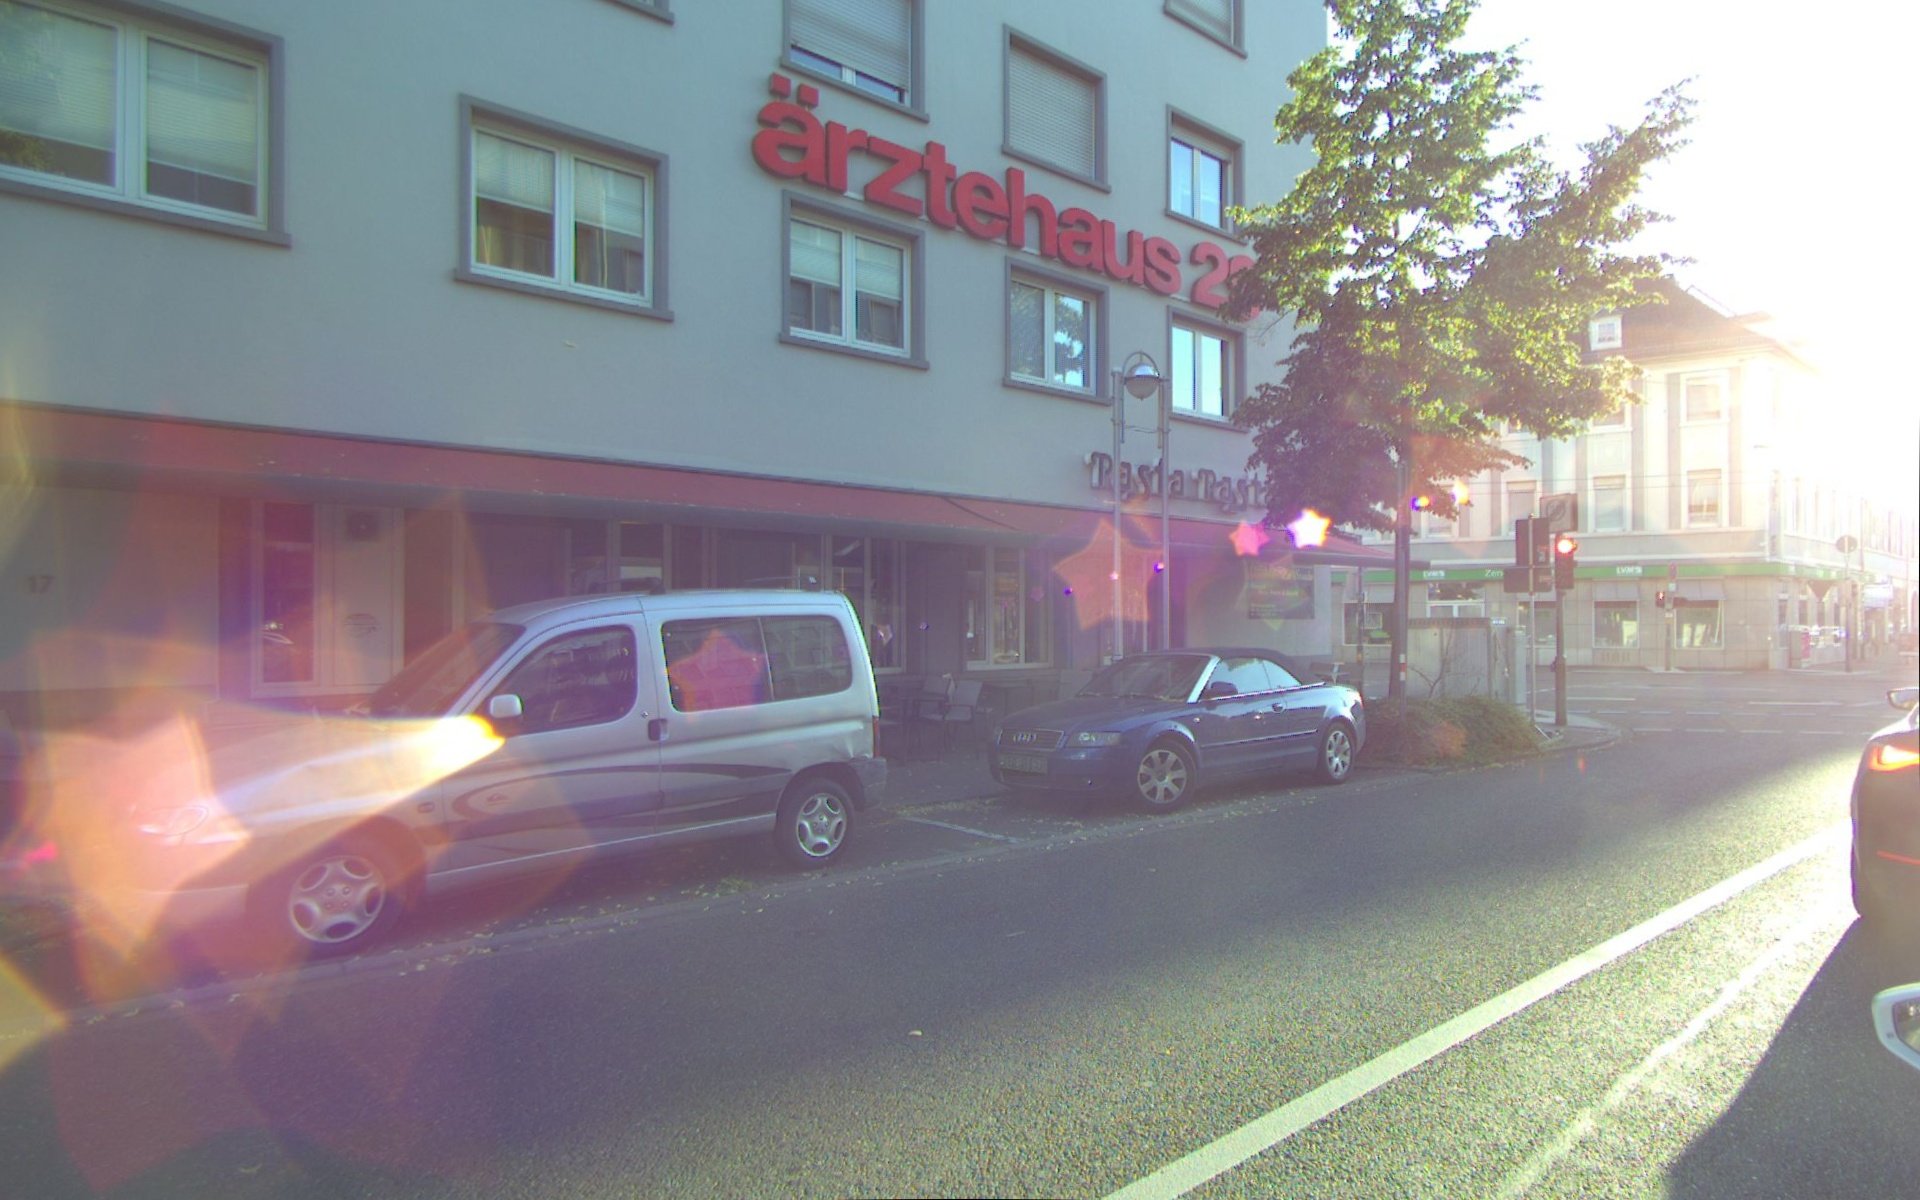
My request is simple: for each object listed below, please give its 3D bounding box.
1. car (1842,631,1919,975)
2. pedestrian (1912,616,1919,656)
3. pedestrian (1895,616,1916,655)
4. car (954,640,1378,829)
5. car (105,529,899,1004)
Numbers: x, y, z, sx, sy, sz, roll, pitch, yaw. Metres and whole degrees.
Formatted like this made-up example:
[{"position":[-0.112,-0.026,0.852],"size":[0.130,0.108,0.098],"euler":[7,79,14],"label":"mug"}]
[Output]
[{"position":[6.071,0.907,5.115],"size":[4.188,1.447,1.723],"euler":[1,-1,-39],"label":"car"},{"position":[46.318,1.737,48.310],"size":[0.612,1.901,0.671],"euler":[1,0,-38],"label":"pedestrian"},{"position":[46.230,1.736,49.121],"size":[0.626,1.901,0.638],"euler":[1,0,-38],"label":"pedestrian"},{"position":[2.122,1.125,9.697],"size":[4.244,1.434,1.710],"euler":[2,-4,-39],"label":"car"},{"position":[-2.464,0.756,6.026],"size":[4.022,1.912,1.655],"euler":[2,-4,-41],"label":"car"}]
